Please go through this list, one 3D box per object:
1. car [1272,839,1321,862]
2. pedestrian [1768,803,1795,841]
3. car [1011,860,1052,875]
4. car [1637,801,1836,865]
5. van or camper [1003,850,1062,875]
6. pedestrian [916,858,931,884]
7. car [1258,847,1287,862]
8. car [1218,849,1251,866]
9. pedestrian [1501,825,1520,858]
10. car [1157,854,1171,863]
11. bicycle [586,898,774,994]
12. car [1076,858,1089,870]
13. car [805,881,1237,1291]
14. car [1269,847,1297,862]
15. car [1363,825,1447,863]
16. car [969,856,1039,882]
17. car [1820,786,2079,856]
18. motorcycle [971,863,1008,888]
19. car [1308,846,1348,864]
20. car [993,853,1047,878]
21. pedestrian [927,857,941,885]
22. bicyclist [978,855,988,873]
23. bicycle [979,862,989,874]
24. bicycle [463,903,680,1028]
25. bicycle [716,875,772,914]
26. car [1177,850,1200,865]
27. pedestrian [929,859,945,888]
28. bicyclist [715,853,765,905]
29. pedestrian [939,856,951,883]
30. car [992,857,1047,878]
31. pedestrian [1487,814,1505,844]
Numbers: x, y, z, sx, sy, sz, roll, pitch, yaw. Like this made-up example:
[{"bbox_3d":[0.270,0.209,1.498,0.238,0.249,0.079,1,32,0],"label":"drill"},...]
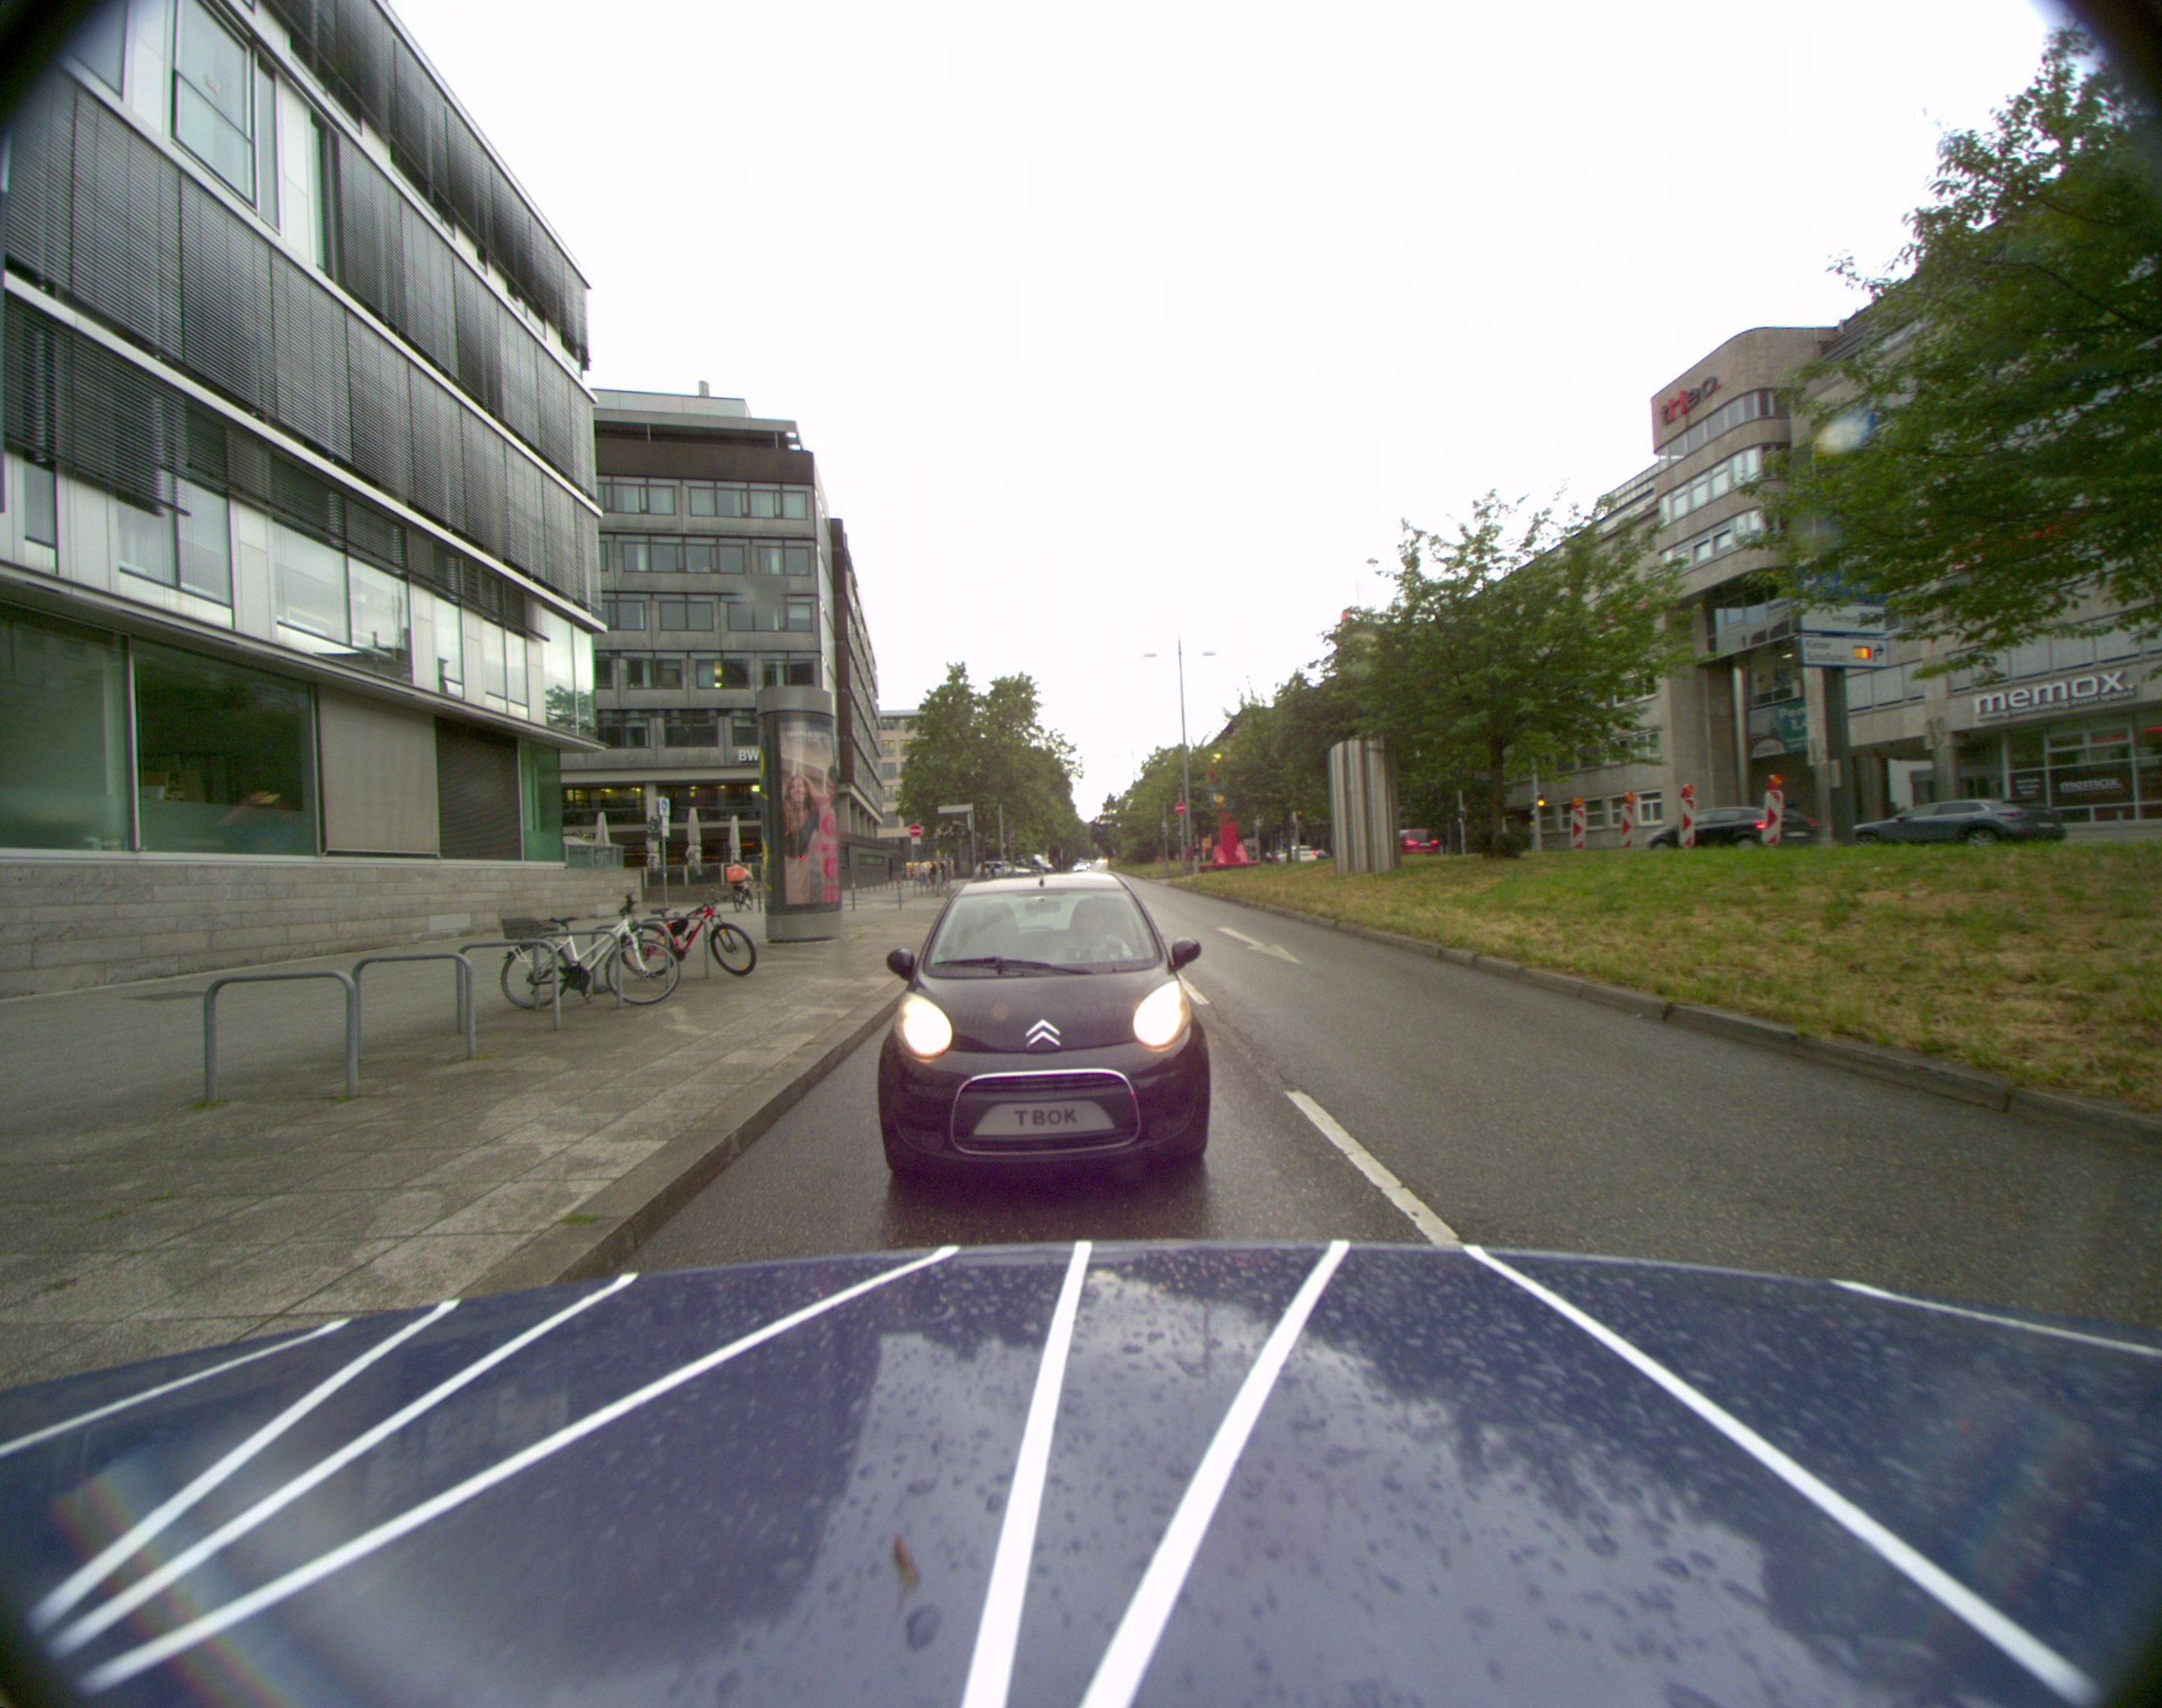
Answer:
[{"bbox_3d":[15.444,-0.239,54.661,1.825,1.466,4.190,-3,0,-8],"label":"car"},{"bbox_3d":[33.841,-1.559,36.699,0.721,1.777,0.529,-3,0,-7],"label":"pedestrian"},{"bbox_3d":[-5.386,1.444,82.705,4.052,1.415,1.711,-4,0,29],"label":"car"},{"bbox_3d":[18.036,-0.529,21.187,1.810,1.477,3.998,-5,0,-6],"label":"car"},{"bbox_3d":[-5.523,1.011,86.370,6.250,2.432,2.319,-4,0,30],"label":"van or camper"},{"bbox_3d":[-11.847,1.276,57.120,0.803,1.857,0.898,-3,0,0],"label":"pedestrian"},{"bbox_3d":[20.535,0.058,81.650,1.791,1.478,4.574,-2,0,-3],"label":"car"},{"bbox_3d":[14.802,0.344,73.496,1.873,1.466,3.997,-3,0,-8],"label":"car"},{"bbox_3d":[23.298,-0.662,41.224,0.529,1.777,0.721,-3,0,1],"label":"pedestrian"},{"bbox_3d":[14.363,0.803,131.653,1.866,1.421,4.132,-2,0,-1],"label":"car"},{"bbox_3d":[-5.139,1.171,9.817,1.988,1.097,0.808,-2,0,4],"label":"bicycle"},{"bbox_3d":[0.170,1.506,118.224,1.791,1.736,4.574,-2,0,-3],"label":"car"},{"bbox_3d":[-0.277,0.983,4.925,1.634,1.408,3.834,-3,0,-1],"label":"car"},{"bbox_3d":[20.493,0.057,77.089,1.690,1.493,3.692,-2,0,-3],"label":"car"},{"bbox_3d":[16.255,-0.463,38.383,1.730,1.717,4.579,-3,0,-8],"label":"car"},{"bbox_3d":[-5.644,1.103,55.610,4.792,1.640,1.920,-4,0,30],"label":"car"},{"bbox_3d":[24.738,-0.841,21.997,1.867,1.715,4.791,-2,0,-3],"label":"car"},{"bbox_3d":[-5.546,1.287,46.058,2.087,1.349,0.677,-3,0,7],"label":"motorcycle"},{"bbox_3d":[21.680,0.102,66.917,1.867,1.421,4.565,-2,0,-3],"label":"car"},{"bbox_3d":[-5.538,1.058,69.258,4.507,1.981,1.925,-4,0,29],"label":"car"},{"bbox_3d":[-11.059,1.290,57.188,0.852,2.027,0.753,-3,0,0],"label":"pedestrian"},{"bbox_3d":[-10.391,1.066,80.827,0.812,1.739,1.079,-6,2,-3],"label":"bicyclist"},{"bbox_3d":[-10.367,1.473,80.983,0.777,1.132,1.978,-6,0,-3],"label":"bicycle"},{"bbox_3d":[-5.300,1.148,7.966,1.840,1.190,0.660,-1,0,4],"label":"bicycle"},{"bbox_3d":[-11.039,1.304,24.992,1.011,1.107,2.066,-2,1,-4],"label":"bicycle"},{"bbox_3d":[13.122,0.463,92.956,1.951,1.690,3.998,-3,0,-5],"label":"car"},{"bbox_3d":[-8.721,1.190,45.934,0.722,1.675,0.528,-3,0,-25],"label":"pedestrian"},{"bbox_3d":[-11.063,0.805,24.702,1.014,1.573,1.135,-5,1,-5],"label":"bicyclist"},{"bbox_3d":[-9.862,1.128,55.021,0.721,1.873,0.656,-3,0,-6],"label":"pedestrian"},{"bbox_3d":[-5.375,1.198,66.376,4.381,1.528,1.919,-4,0,27],"label":"car"},{"bbox_3d":[23.064,-1.374,42.254,0.607,1.619,0.620,-3,0,1],"label":"pedestrian"}]
